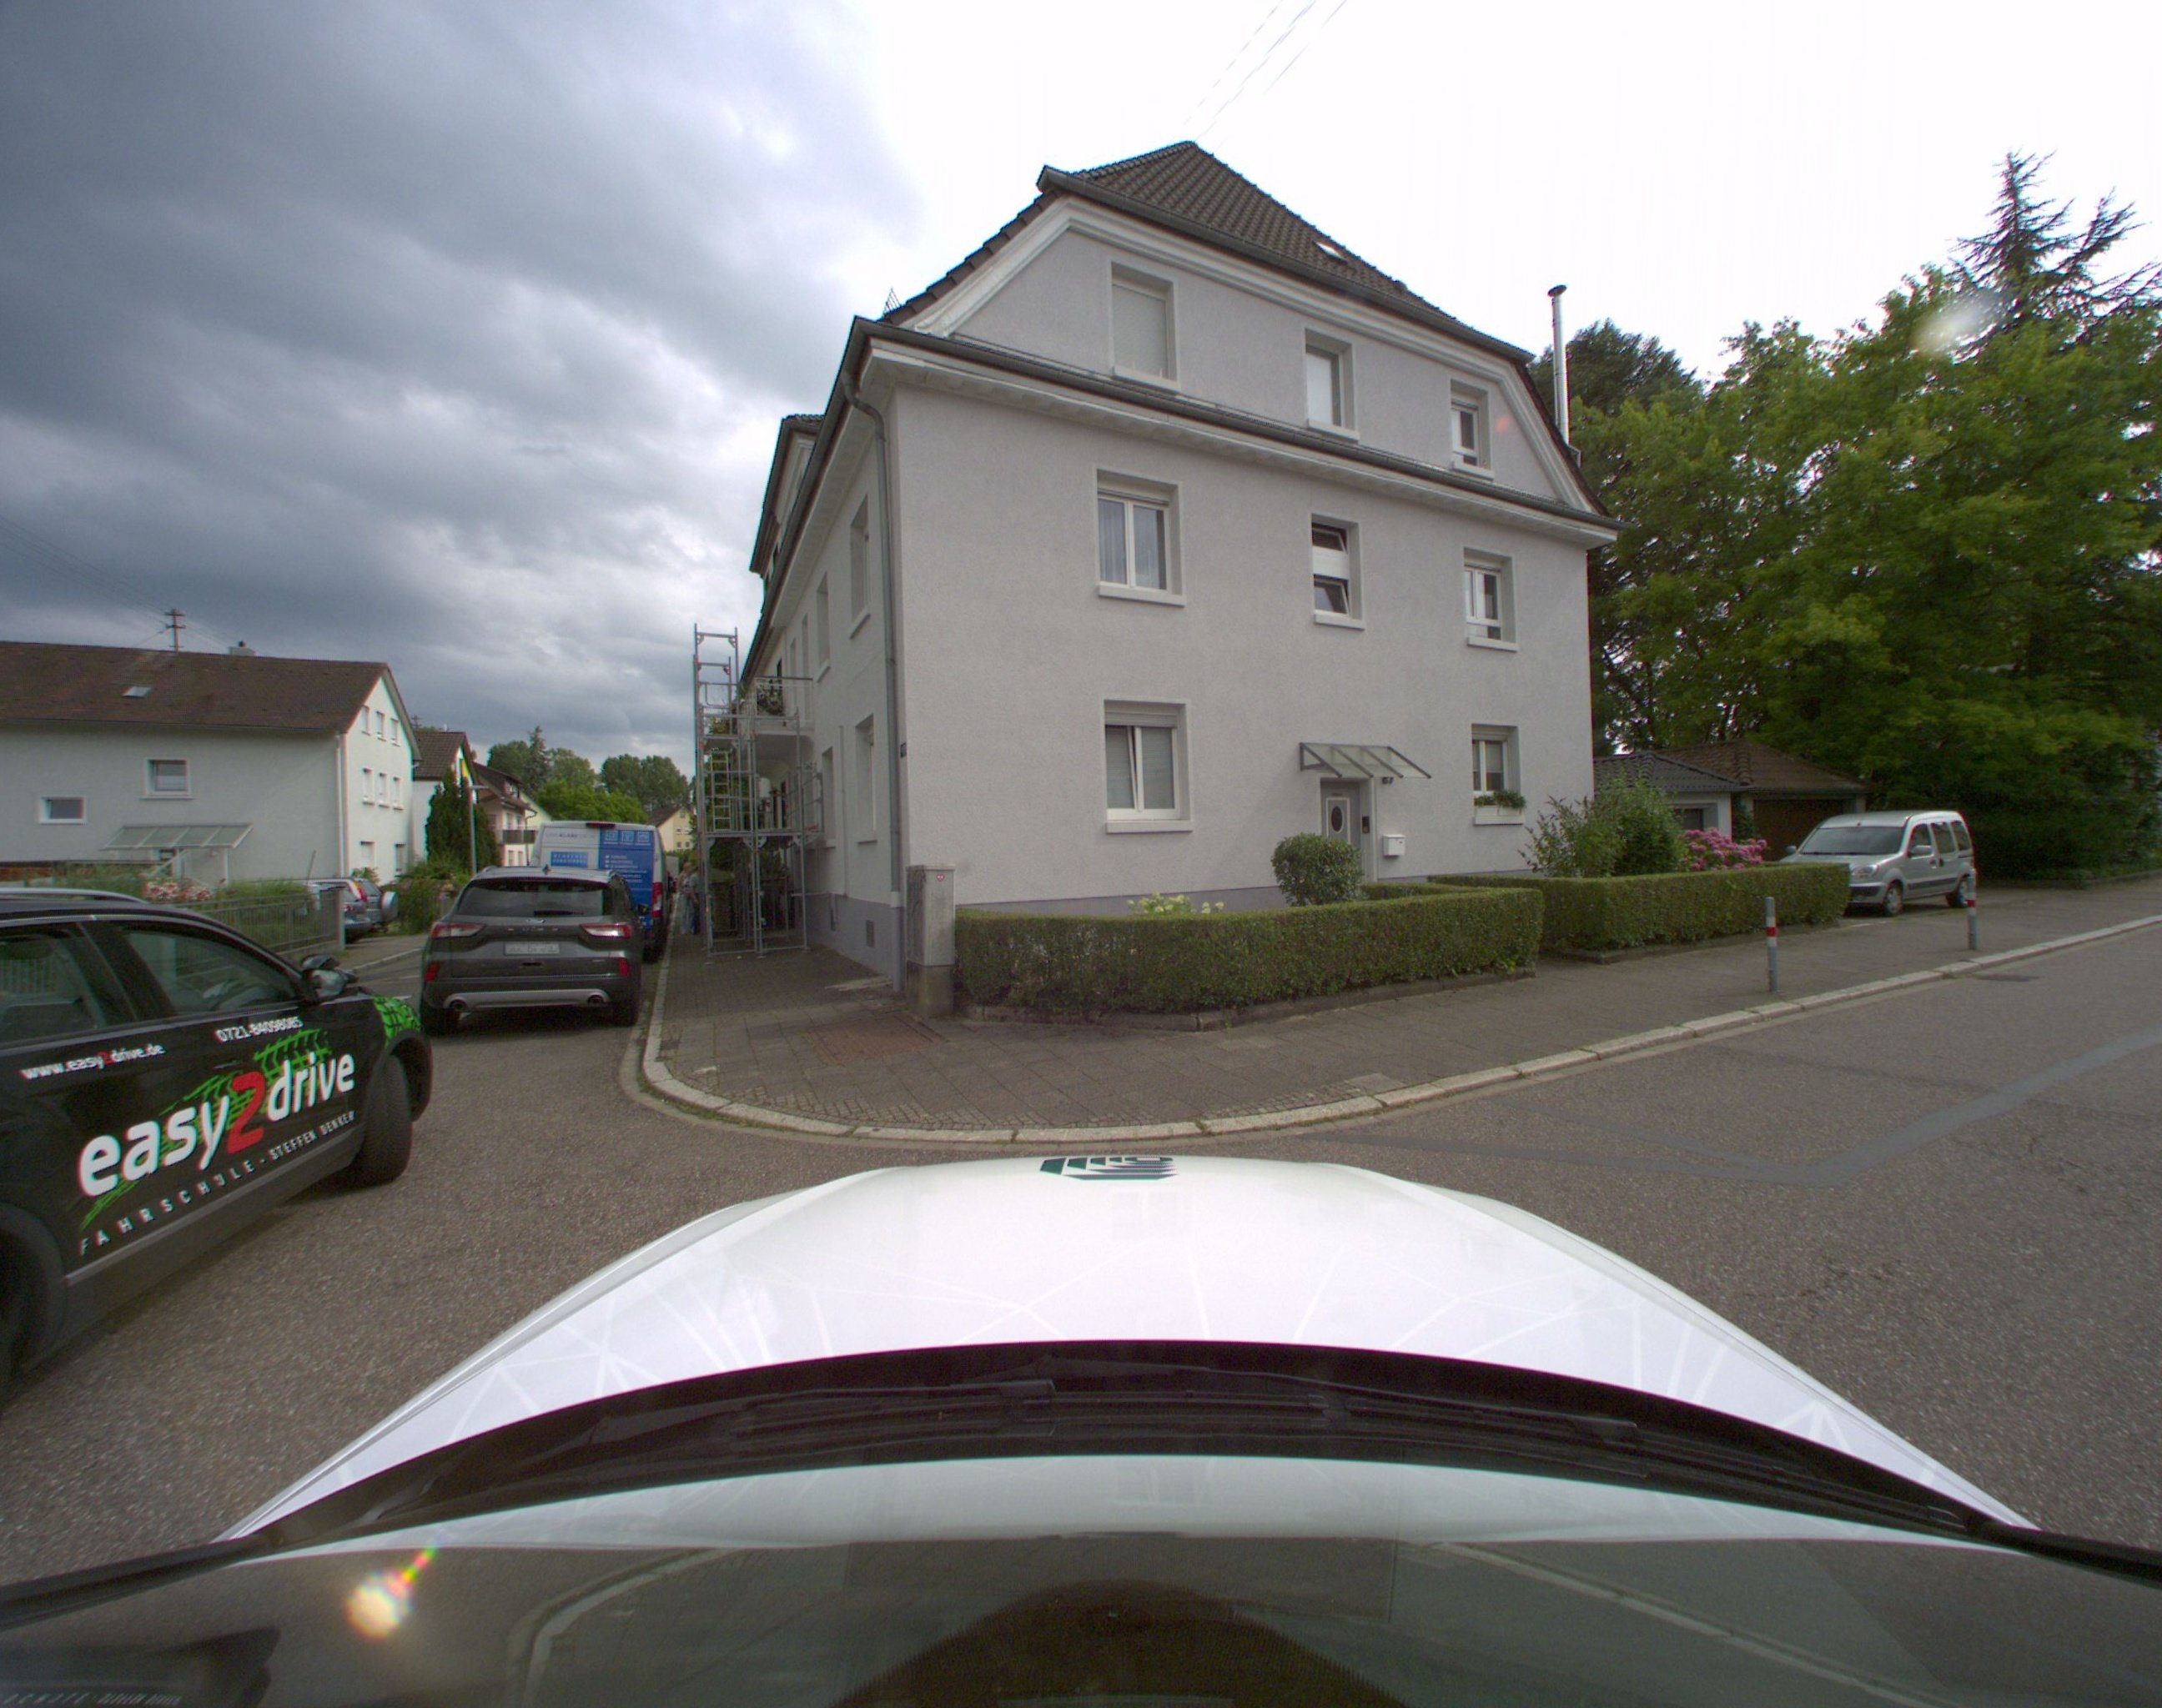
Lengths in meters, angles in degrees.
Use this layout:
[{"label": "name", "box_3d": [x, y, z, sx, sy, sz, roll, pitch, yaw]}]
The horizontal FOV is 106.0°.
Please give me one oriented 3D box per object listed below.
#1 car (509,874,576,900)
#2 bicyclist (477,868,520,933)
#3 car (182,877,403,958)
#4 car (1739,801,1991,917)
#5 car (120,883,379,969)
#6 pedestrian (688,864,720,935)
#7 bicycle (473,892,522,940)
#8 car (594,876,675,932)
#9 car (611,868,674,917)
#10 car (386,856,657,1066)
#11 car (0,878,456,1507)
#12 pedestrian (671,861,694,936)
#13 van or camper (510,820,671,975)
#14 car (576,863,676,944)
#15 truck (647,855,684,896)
[{"label": "car", "box_3d": [-40.361, 2.469, 61.127, 4.013, 1.772, 1.851, -2, -1, -31]}, {"label": "bicyclist", "box_3d": [-15.745, 1.231, 22.025, 0.700, 1.666, 0.967, -3, 0, -26]}, {"label": "car", "box_3d": [-19.282, 1.485, 20.127, 3.594, 1.667, 1.572, -2, -1, -30]}, {"label": "car", "box_3d": [14.327, 0.043, 14.889, 4.006, 1.838, 1.984, -2, 0, -25]}, {"label": "car", "box_3d": [-17.766, 1.477, 17.649, 3.594, 1.500, 1.572, -2, -1, -30]}, {"label": "pedestrian", "box_3d": [-9.016, 1.071, 19.477, 0.603, 1.629, 0.620, -2, -2, -23]}, {"label": "bicycle", "box_3d": [-15.668, 1.635, 21.903, 0.709, 1.152, 1.857, -3, 0, -26]}, {"label": "car", "box_3d": [-13.965, 1.481, 25.535, 2.006, 1.455, 4.301, -2, 0, -29]}, {"label": "car", "box_3d": [-17.464, 1.467, 32.450, 2.006, 1.749, 4.301, -2, 0, -29]}, {"label": "car", "box_3d": [-6.078, 0.950, 9.355, 2.006, 1.727, 4.301, -2, 0, -29]}, {"label": "car", "box_3d": [-3.860, 0.873, 2.639, 1.823, 1.520, 4.014, -1, -1, -21]}, {"label": "pedestrian", "box_3d": [-9.629, 1.060, 19.668, 0.410, 1.762, 0.508, -2, -2, -30]}, {"label": "van or camper", "box_3d": [-9.222, 0.712, 15.768, 2.204, 2.459, 5.010, -2, 0, -27]}, {"label": "car", "box_3d": [-11.711, 1.183, 21.060, 2.006, 1.772, 4.301, -2, 0, -29]}, {"label": "truck", "box_3d": [-29.322, 1.501, 57.379, 2.142, 2.657, 4.542, -2, 0, -28]}]
